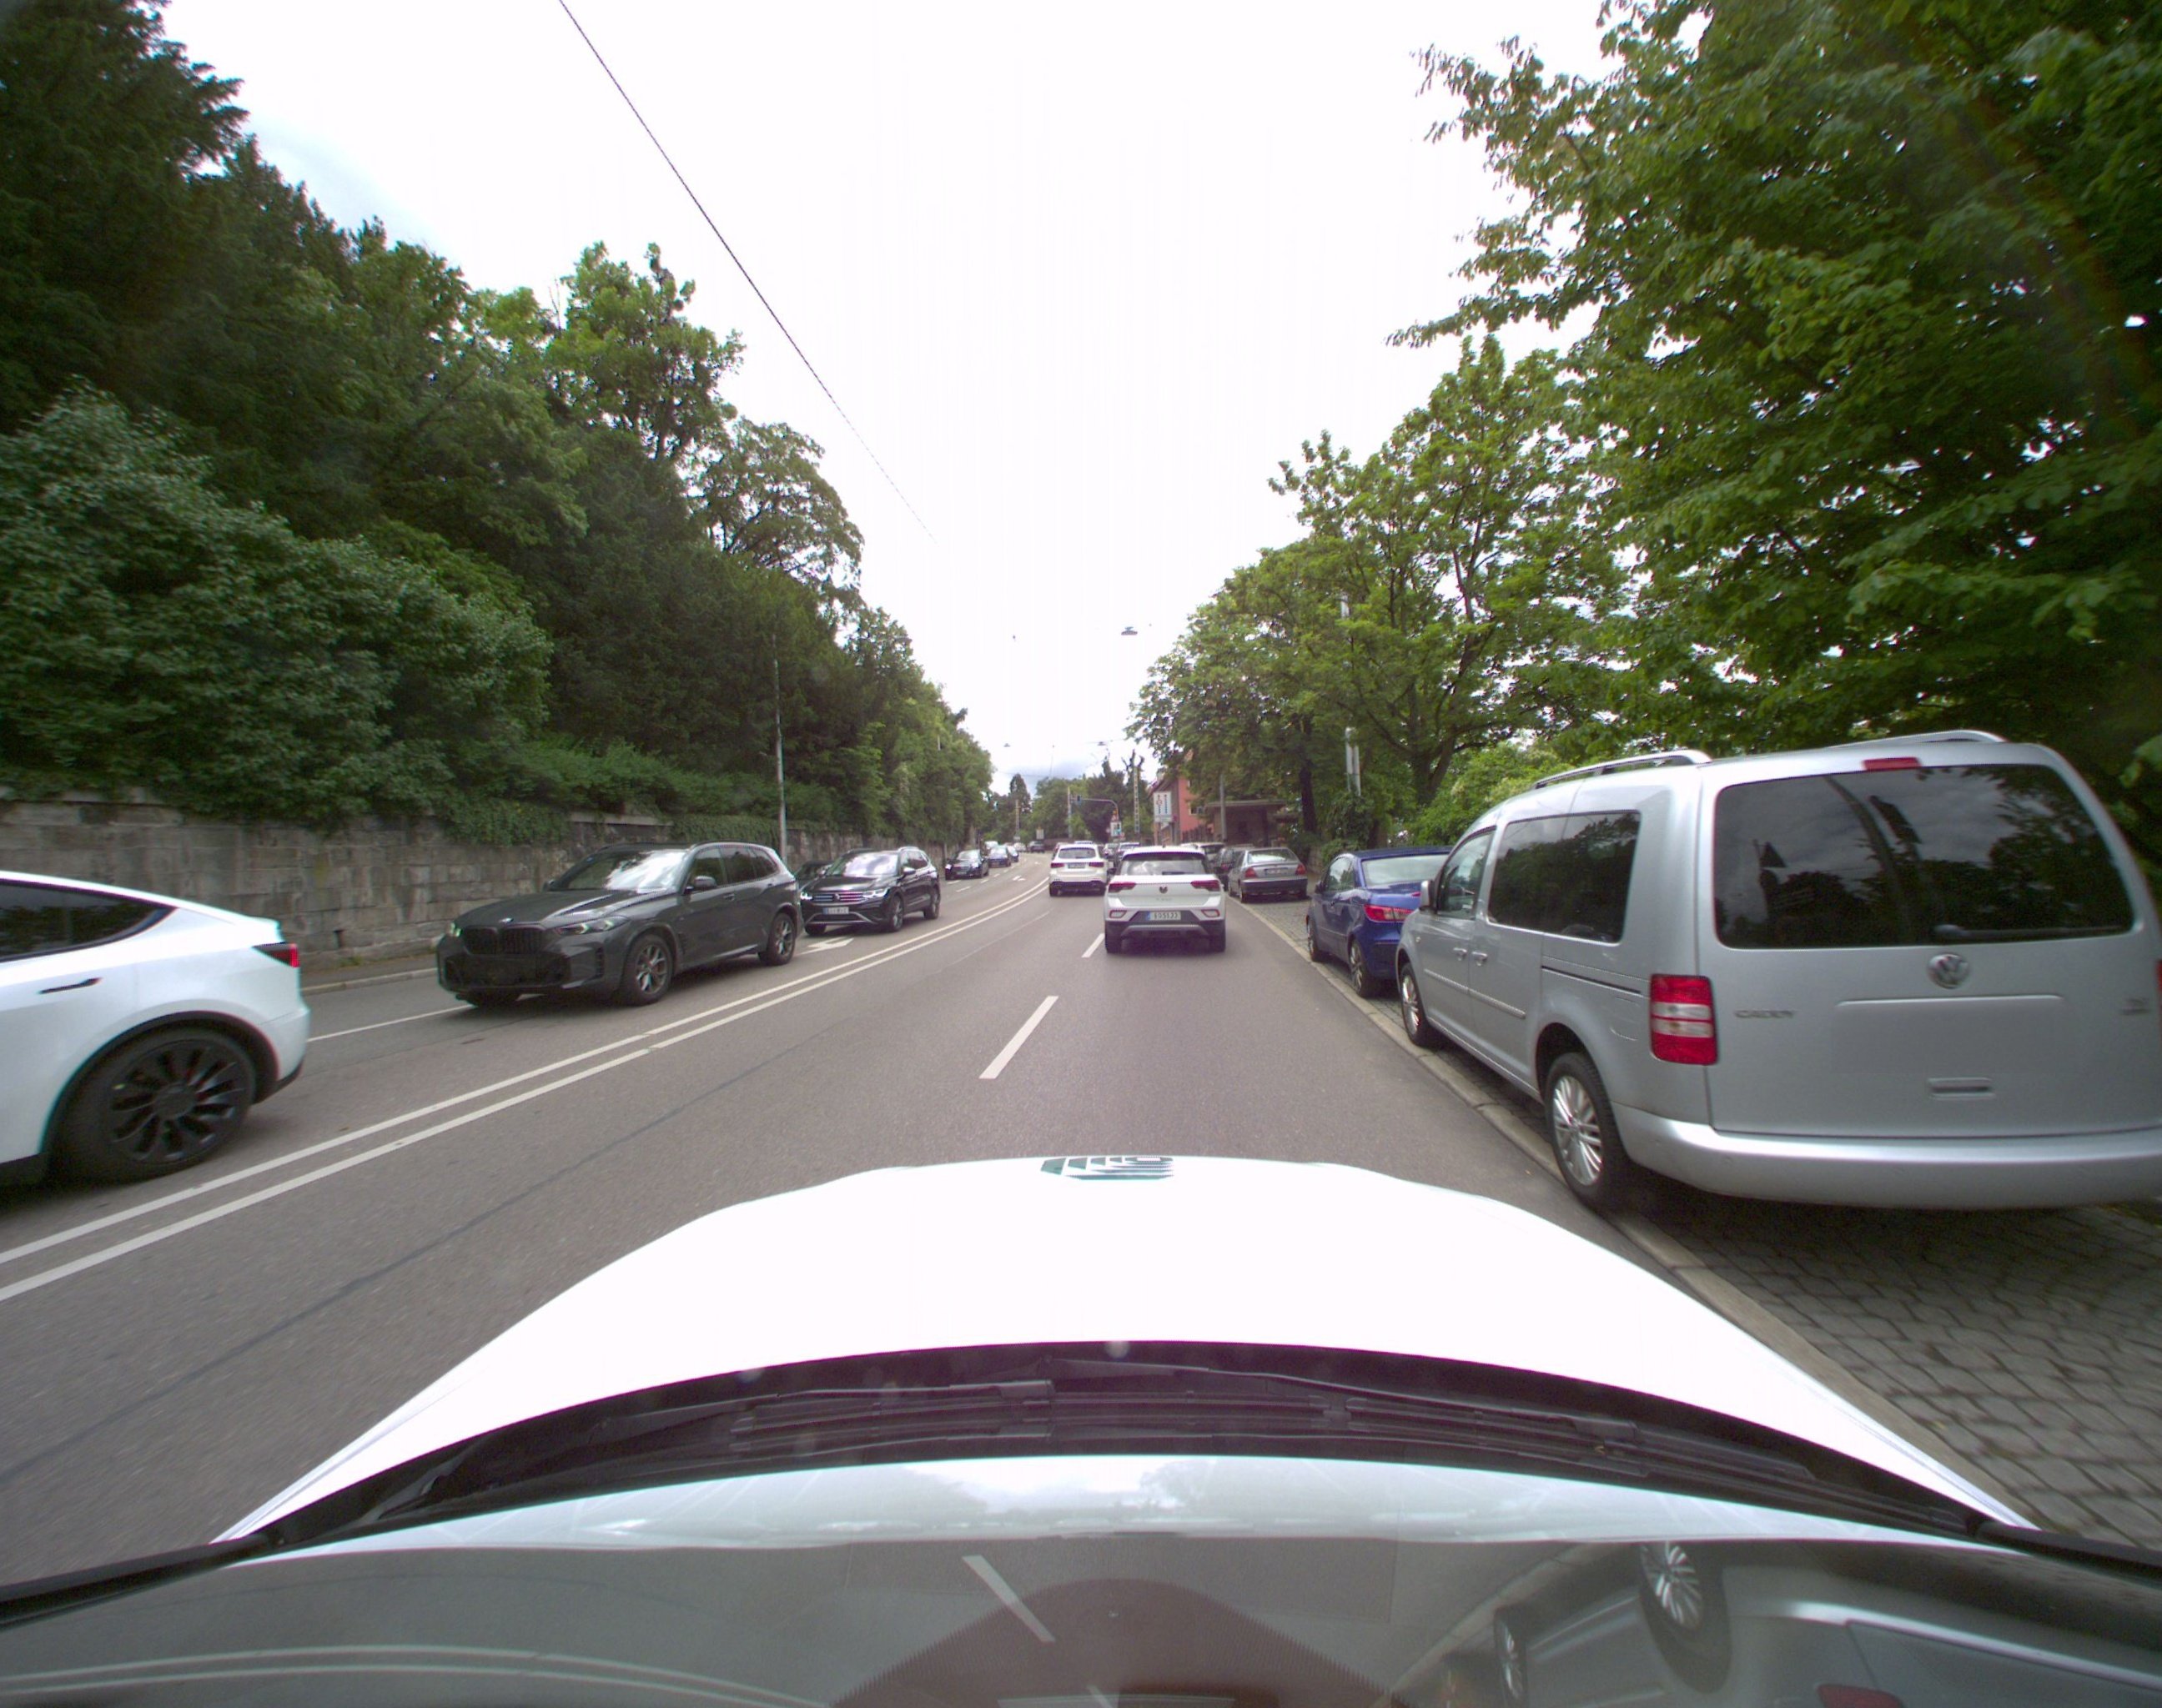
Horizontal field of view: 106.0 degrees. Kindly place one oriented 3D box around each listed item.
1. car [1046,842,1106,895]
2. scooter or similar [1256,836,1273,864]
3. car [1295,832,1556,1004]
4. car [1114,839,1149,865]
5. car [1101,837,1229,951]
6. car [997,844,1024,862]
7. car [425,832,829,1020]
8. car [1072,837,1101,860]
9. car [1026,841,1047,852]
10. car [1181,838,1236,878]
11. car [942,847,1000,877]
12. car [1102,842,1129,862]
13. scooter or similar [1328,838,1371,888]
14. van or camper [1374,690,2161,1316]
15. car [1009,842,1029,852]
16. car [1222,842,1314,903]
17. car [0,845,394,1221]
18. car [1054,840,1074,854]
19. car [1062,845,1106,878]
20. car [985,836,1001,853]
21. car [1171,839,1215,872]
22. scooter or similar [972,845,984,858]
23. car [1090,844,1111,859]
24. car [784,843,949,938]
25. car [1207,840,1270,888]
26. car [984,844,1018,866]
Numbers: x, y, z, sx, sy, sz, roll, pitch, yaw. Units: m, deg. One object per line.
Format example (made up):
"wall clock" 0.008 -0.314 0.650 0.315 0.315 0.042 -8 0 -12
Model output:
"car" -0.085 0.431 26.806 1.750 1.609 3.798 0 0 3
"scooter or similar" 8.671 -0.217 38.512 0.514 1.260 1.170 -4 1 5
"car" 3.576 0.569 9.223 1.589 1.460 3.949 -3 0 6
"car" 3.005 -0.129 49.307 1.985 1.414 4.153 -2 0 3
"car" 1.385 0.544 13.137 1.748 1.555 3.803 0 0 7
"car" -6.155 -0.143 71.487 1.836 1.409 4.457 -3 1 1
"car" -5.182 0.689 10.337 1.950 1.749 4.886 -3 0 6
"car" 0.399 -0.403 57.206 1.987 1.556 4.151 0 1 0
"car" -6.381 -1.069 116.475 1.998 1.575 4.127 -2 0 -16
"car" 5.498 0.114 35.498 1.709 1.471 4.039 -5 1 1
"car" -5.711 0.398 42.973 1.993 1.409 4.761 -3 0 5
"car" 2.757 -0.165 65.760 1.987 1.450 4.151 -1 0 1
"scooter or similar" 7.234 0.230 22.046 0.558 1.244 2.003 -7 0 6
"van or camper" 3.026 0.445 4.562 1.689 1.845 4.251 -2 0 7
"car" -9.821 -1.117 128.236 2.001 1.450 4.121 -2 0 -21
"car" 4.996 0.439 22.355 1.762 1.398 4.557 -3 0 5
"car" -5.459 0.769 2.788 1.828 1.554 4.796 -1 0 5
"car" -1.795 -0.736 84.326 1.778 1.454 3.993 -1 0 -5
"car" 0.220 0.347 40.623 1.985 1.489 4.153 -2 0 2
"car" -11.413 -1.304 105.409 1.892 1.847 4.386 -3 5 -8
"car" 5.591 0.046 41.101 1.669 1.461 4.367 -3 1 2
"scooter or similar" -10.484 -0.275 82.755 0.429 1.237 1.105 2 0 40
"car" 1.919 -0.291 82.473 1.987 1.450 4.150 -1 0 0
"car" -4.328 0.653 17.284 1.839 1.651 4.630 -3 0 5
"car" 5.324 0.305 27.847 1.555 1.422 3.427 -5 0 3
"car" -5.729 0.043 58.735 1.835 1.436 4.002 -3 1 2
